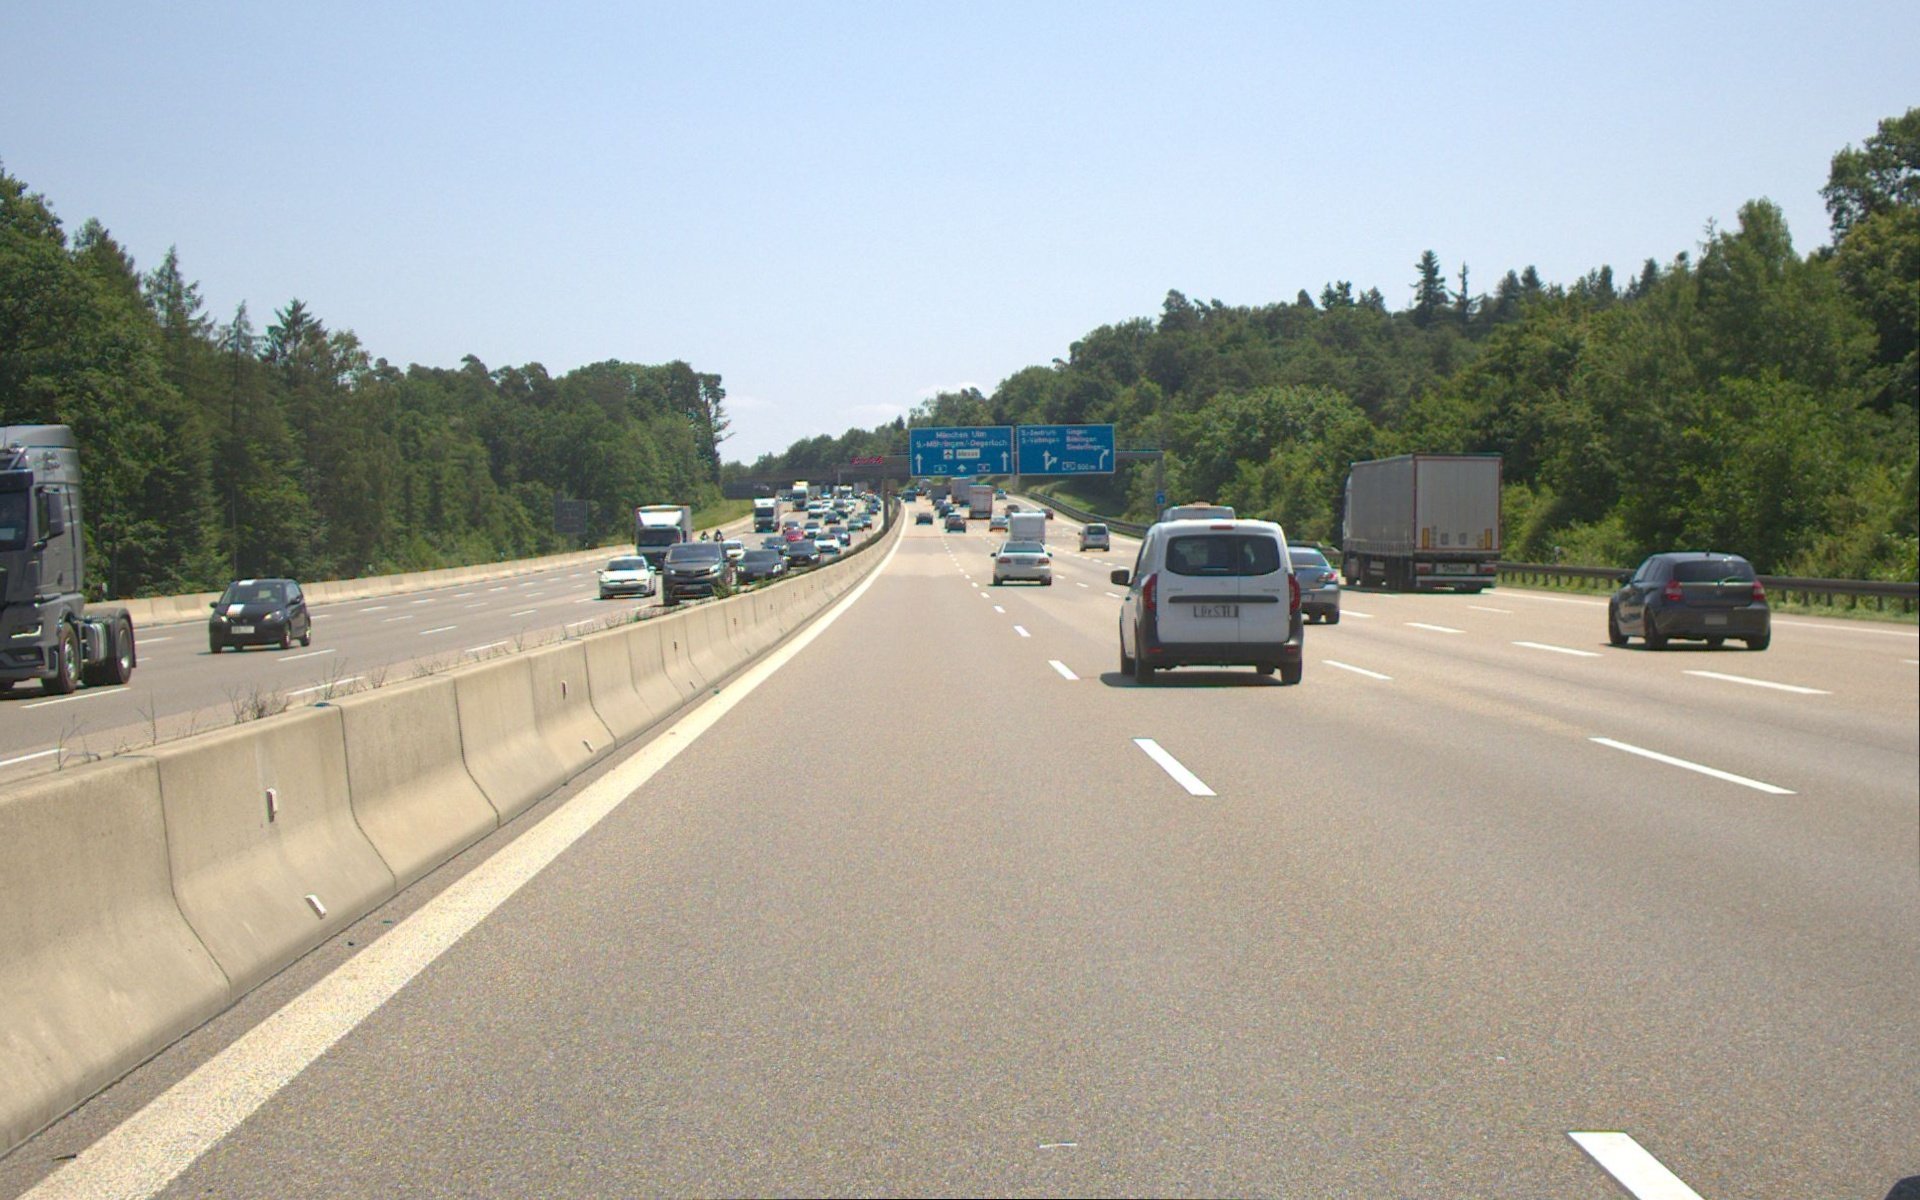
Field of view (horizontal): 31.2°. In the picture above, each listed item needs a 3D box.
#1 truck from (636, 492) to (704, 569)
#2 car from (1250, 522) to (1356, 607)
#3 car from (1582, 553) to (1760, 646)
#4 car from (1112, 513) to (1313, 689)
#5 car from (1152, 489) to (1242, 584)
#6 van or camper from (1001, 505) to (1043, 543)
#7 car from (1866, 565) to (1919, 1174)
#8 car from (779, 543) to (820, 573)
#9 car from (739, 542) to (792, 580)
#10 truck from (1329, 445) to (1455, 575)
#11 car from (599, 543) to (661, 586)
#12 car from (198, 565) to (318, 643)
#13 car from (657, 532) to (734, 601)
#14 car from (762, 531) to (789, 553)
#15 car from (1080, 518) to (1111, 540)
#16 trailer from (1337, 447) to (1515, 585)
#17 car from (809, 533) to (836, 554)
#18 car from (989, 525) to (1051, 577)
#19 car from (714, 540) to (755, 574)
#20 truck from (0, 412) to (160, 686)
[{"bbox_3d":[-15.641,-3.766,185.879,2.858,3.999,9.469,-1,1,0],"label":"truck"},{"bbox_3d":[6.479,-0.693,65.176,1.503,1.495,3.650,-2,1,-1],"label":"car"},{"bbox_3d":[10.381,-0.031,50.461,1.670,1.269,4.290,1,1,0],"label":"car"},{"bbox_3d":[2.794,-0.037,38.898,1.860,1.819,4.612,-2,1,0],"label":"car"},{"bbox_3d":[6.834,-1.875,99.547,2.143,2.643,5.710,0,2,0],"label":"car"},{"bbox_3d":[4.212,-5.208,235.534,2.645,2.530,6.502,-2,1,0],"label":"van or camper"},{"bbox_3d":[3.139,0.686,6.160,1.729,1.442,4.961,0,1,0],"label":"car"},{"bbox_3d":[-8.200,-2.159,176.225,1.913,1.459,4.364,-1,0,-1],"label":"car"},{"bbox_3d":[-7.829,-1.561,138.986,1.913,1.459,4.588,-1,0,-1],"label":"car"},{"bbox_3d":[14.011,-2.951,111.939,3.254,4.092,5.988,0,2,-1],"label":"truck"},{"bbox_3d":[-11.638,-1.269,121.547,1.760,1.459,4.840,-1,1,-1],"label":"car"},{"bbox_3d":[-14.733,0.067,72.340,1.753,1.481,3.815,-3,1,-1],"label":"car"},{"bbox_3d":[-7.943,-1.030,103.800,1.898,1.947,5.657,-2,1,-1],"label":"car"},{"bbox_3d":[-12.419,-3.931,231.779,1.702,1.422,4.614,-2,1,-2],"label":"car"},{"bbox_3d":[8.798,-4.617,223.639,1.835,1.333,3.643,-2,1,-1],"label":"car"},{"bbox_3d":[14.102,-2.641,105.354,3.287,3.917,13.892,0,2,-1],"label":"trailer"},{"bbox_3d":[-9.460,-3.899,236.733,1.824,1.389,4.465,-2,1,-2],"label":"car"},{"bbox_3d":[1.961,-1.614,113.801,1.843,1.623,4.554,-2,1,-1],"label":"car"},{"bbox_3d":[-12.025,-2.301,183.391,1.913,1.655,4.689,-2,1,-1],"label":"car"},{"bbox_3d":[-14.188,-0.748,51.736,2.578,3.828,7.018,-2,1,-1],"label":"truck"}]
